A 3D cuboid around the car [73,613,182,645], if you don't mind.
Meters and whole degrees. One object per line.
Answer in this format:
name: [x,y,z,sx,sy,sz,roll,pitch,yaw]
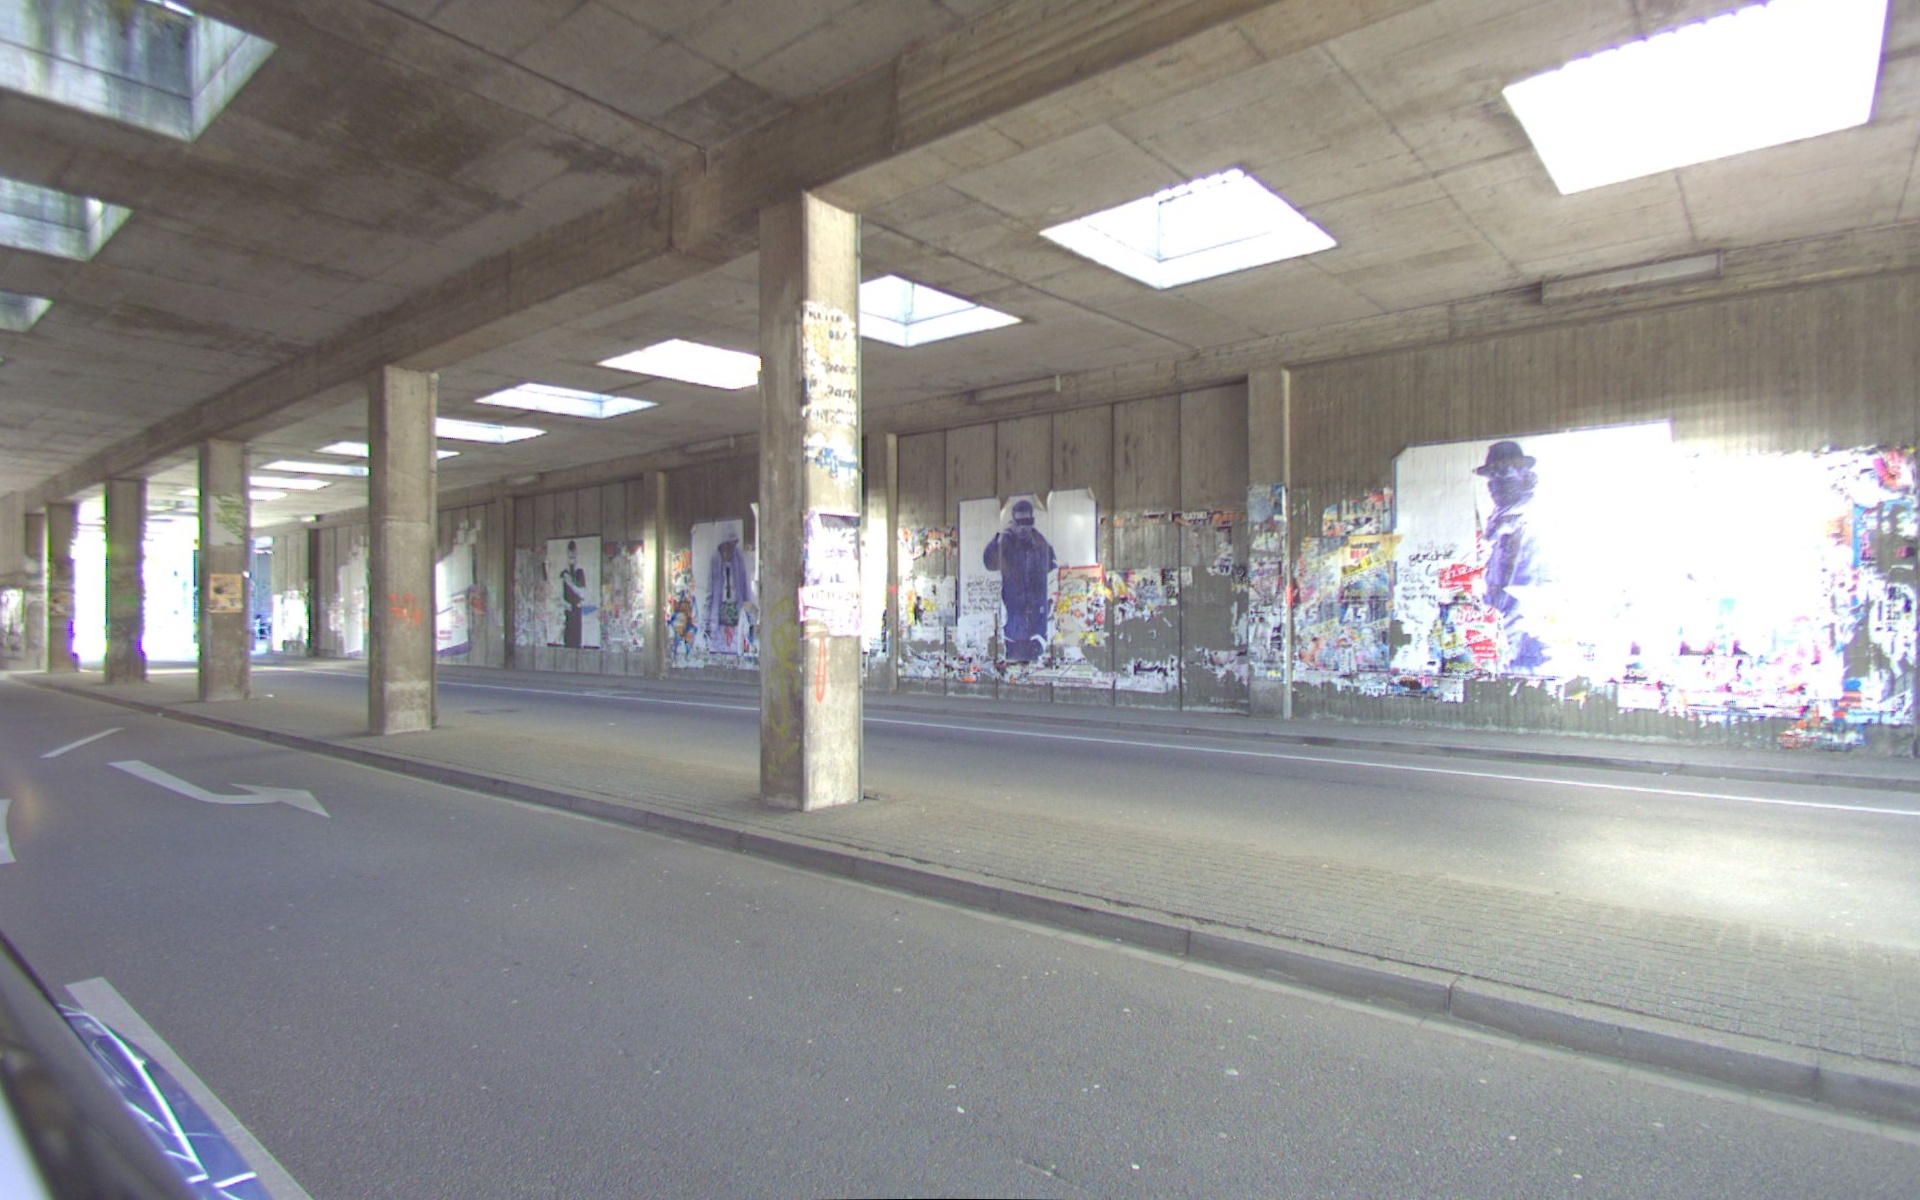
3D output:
car: [-50.625,1.715,61.635,1.994,1.763,4.804,-1,0,33]
